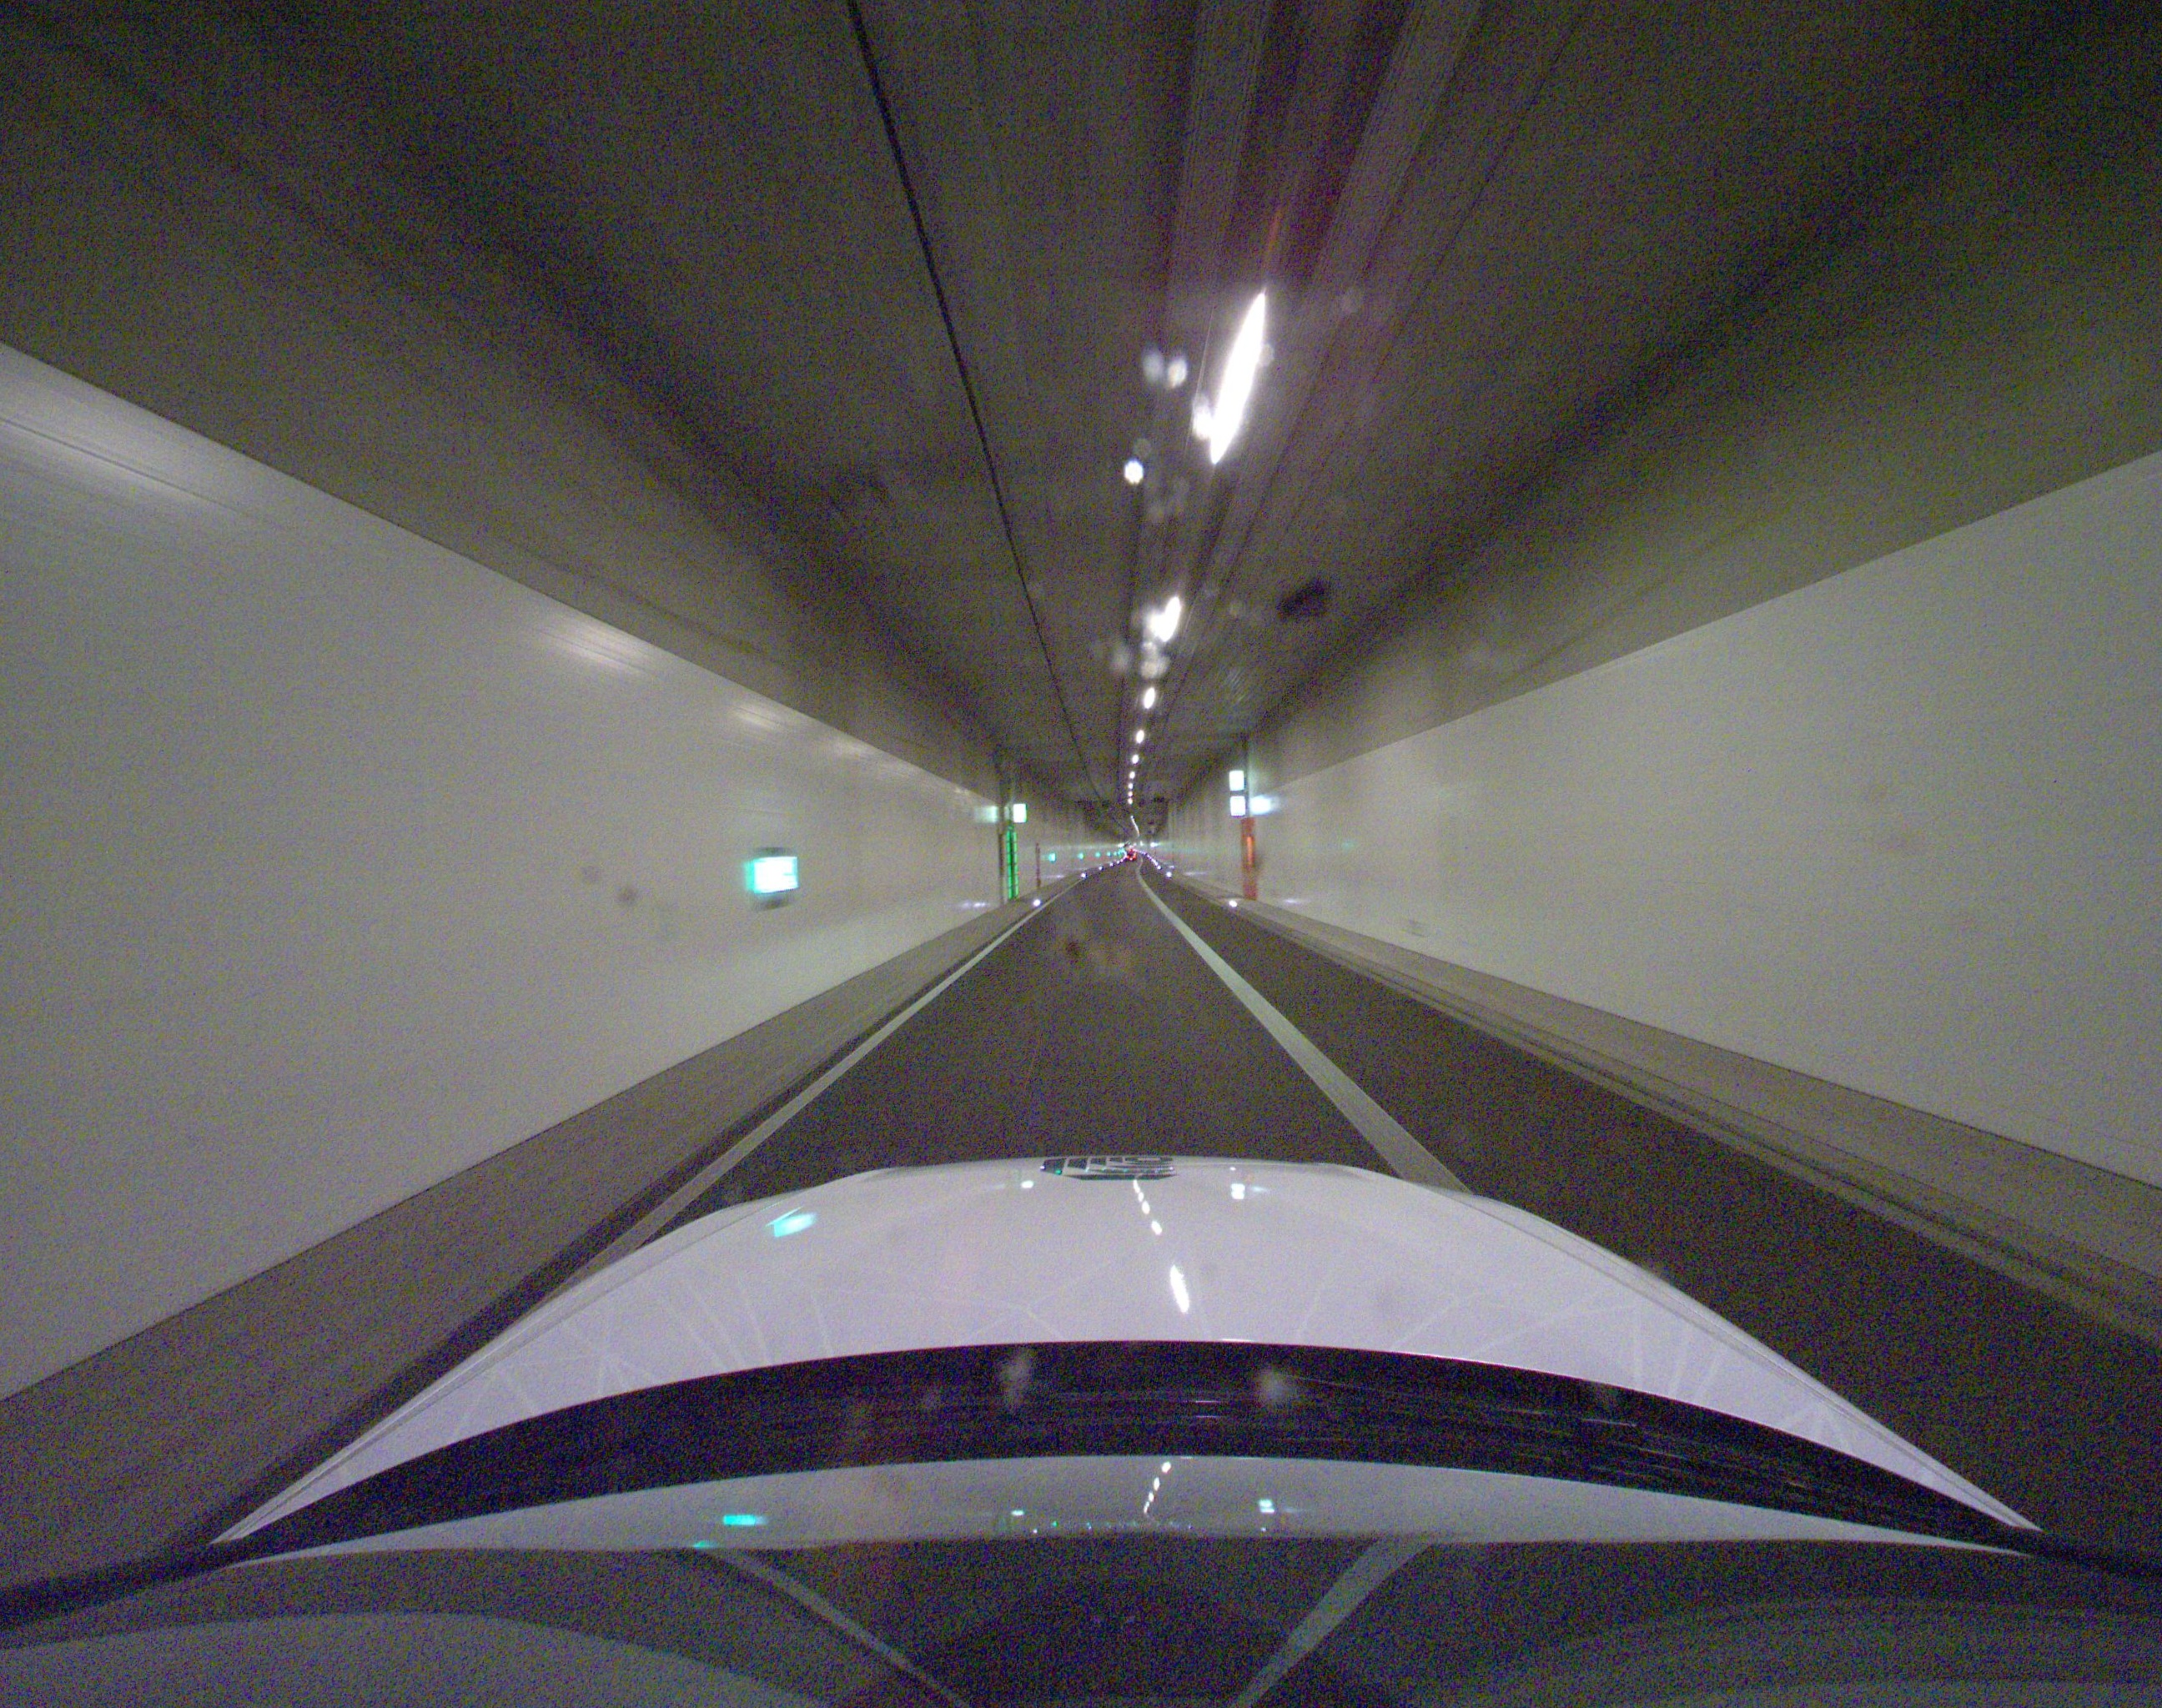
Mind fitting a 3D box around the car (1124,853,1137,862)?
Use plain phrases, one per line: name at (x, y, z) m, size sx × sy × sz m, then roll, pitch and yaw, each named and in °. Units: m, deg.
car at (8.017, 0.552, 131.270) m, size 1.986 × 1.420 × 4.002 m, roll -1°, pitch 0°, yaw 2°
